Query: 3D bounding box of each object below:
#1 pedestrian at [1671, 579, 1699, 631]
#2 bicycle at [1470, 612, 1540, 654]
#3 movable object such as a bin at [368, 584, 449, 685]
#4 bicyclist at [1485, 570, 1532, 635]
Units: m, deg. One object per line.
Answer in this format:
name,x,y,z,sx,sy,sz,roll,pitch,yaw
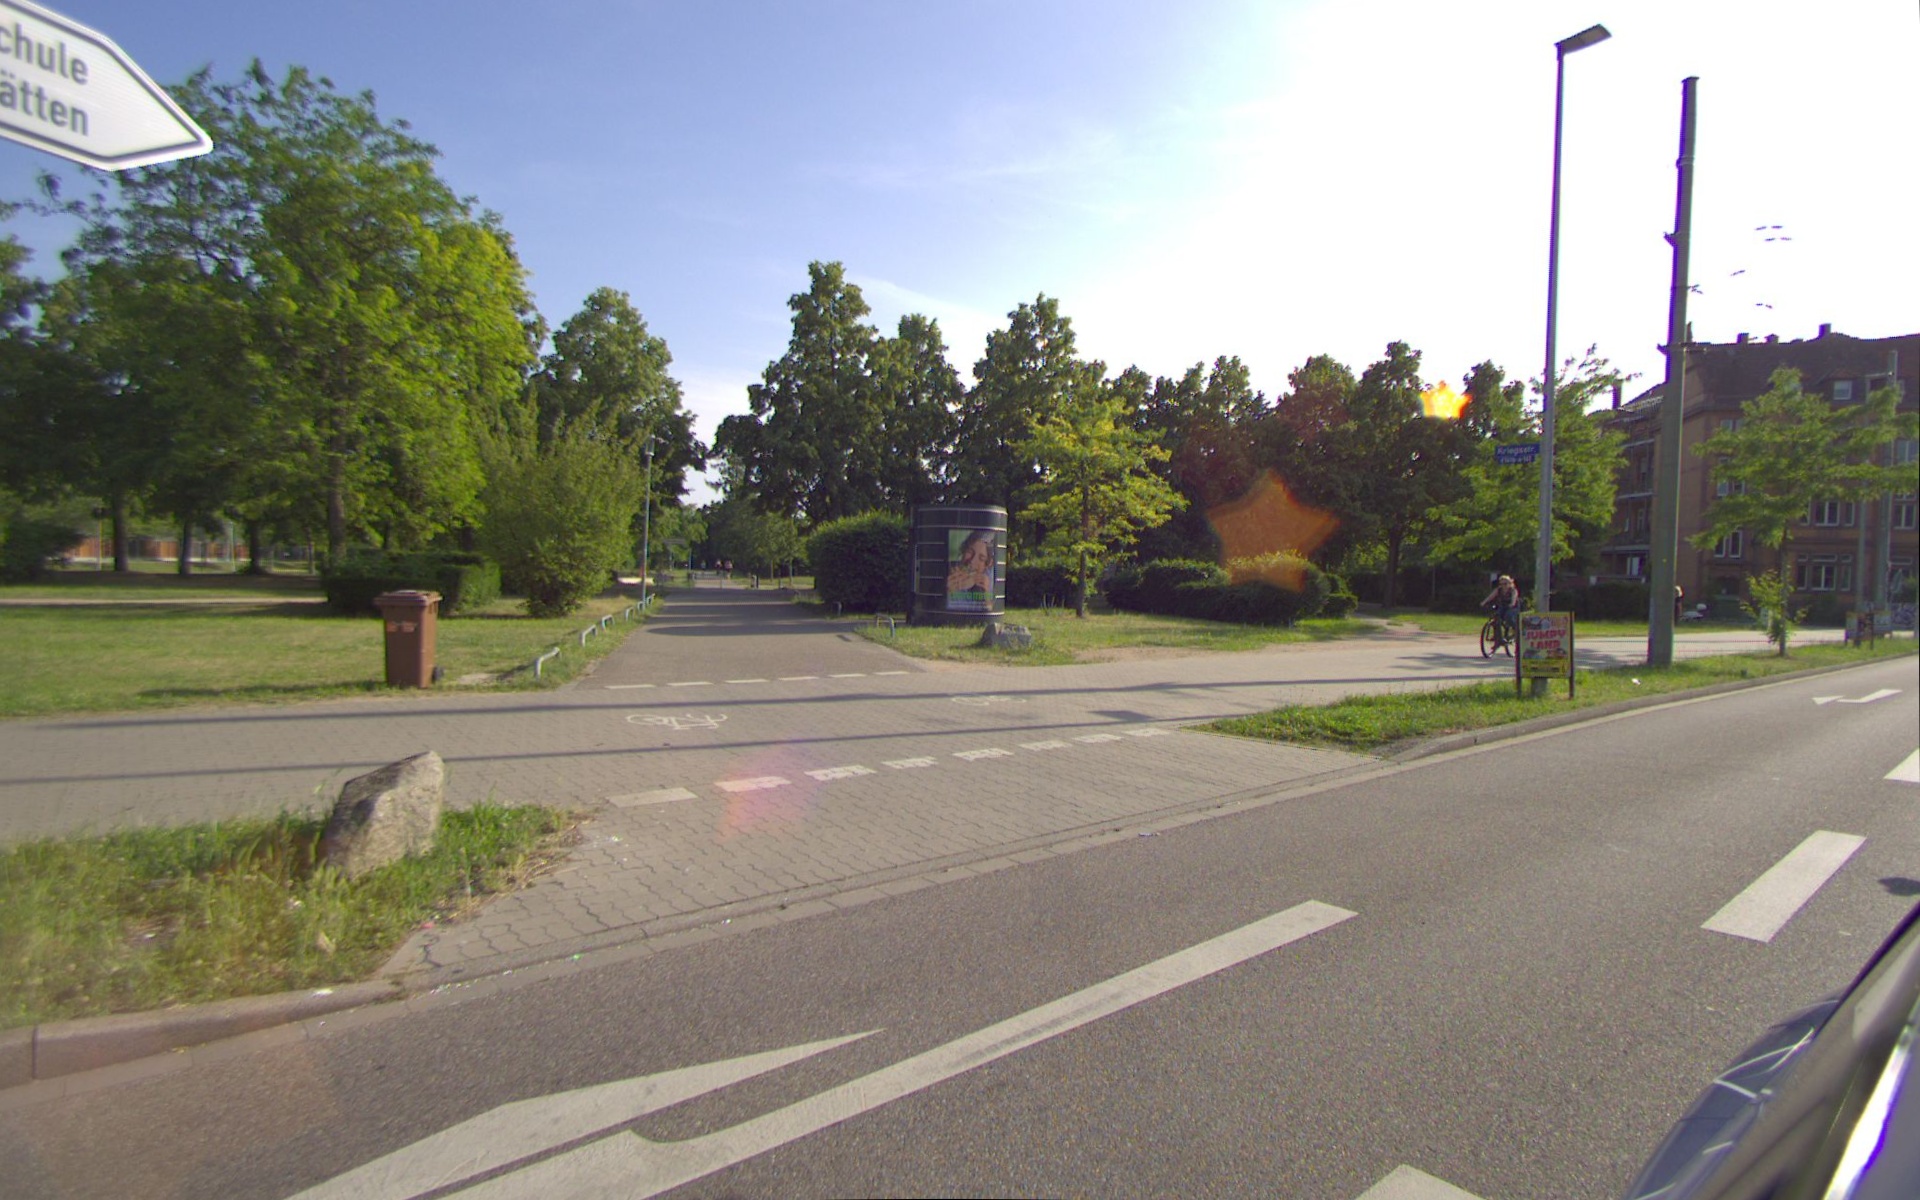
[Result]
pedestrian,24.366,0.159,34.004,0.607,1.706,0.621,1,0,-41
bicycle,11.134,0.655,20.647,2.130,0.766,0.496,0,3,-41
movable object such as a bin,-5.366,0.323,9.870,0.447,0.929,0.605,2,1,1
bicyclist,11.214,0.048,20.678,0.854,1.278,0.535,0,2,-41
